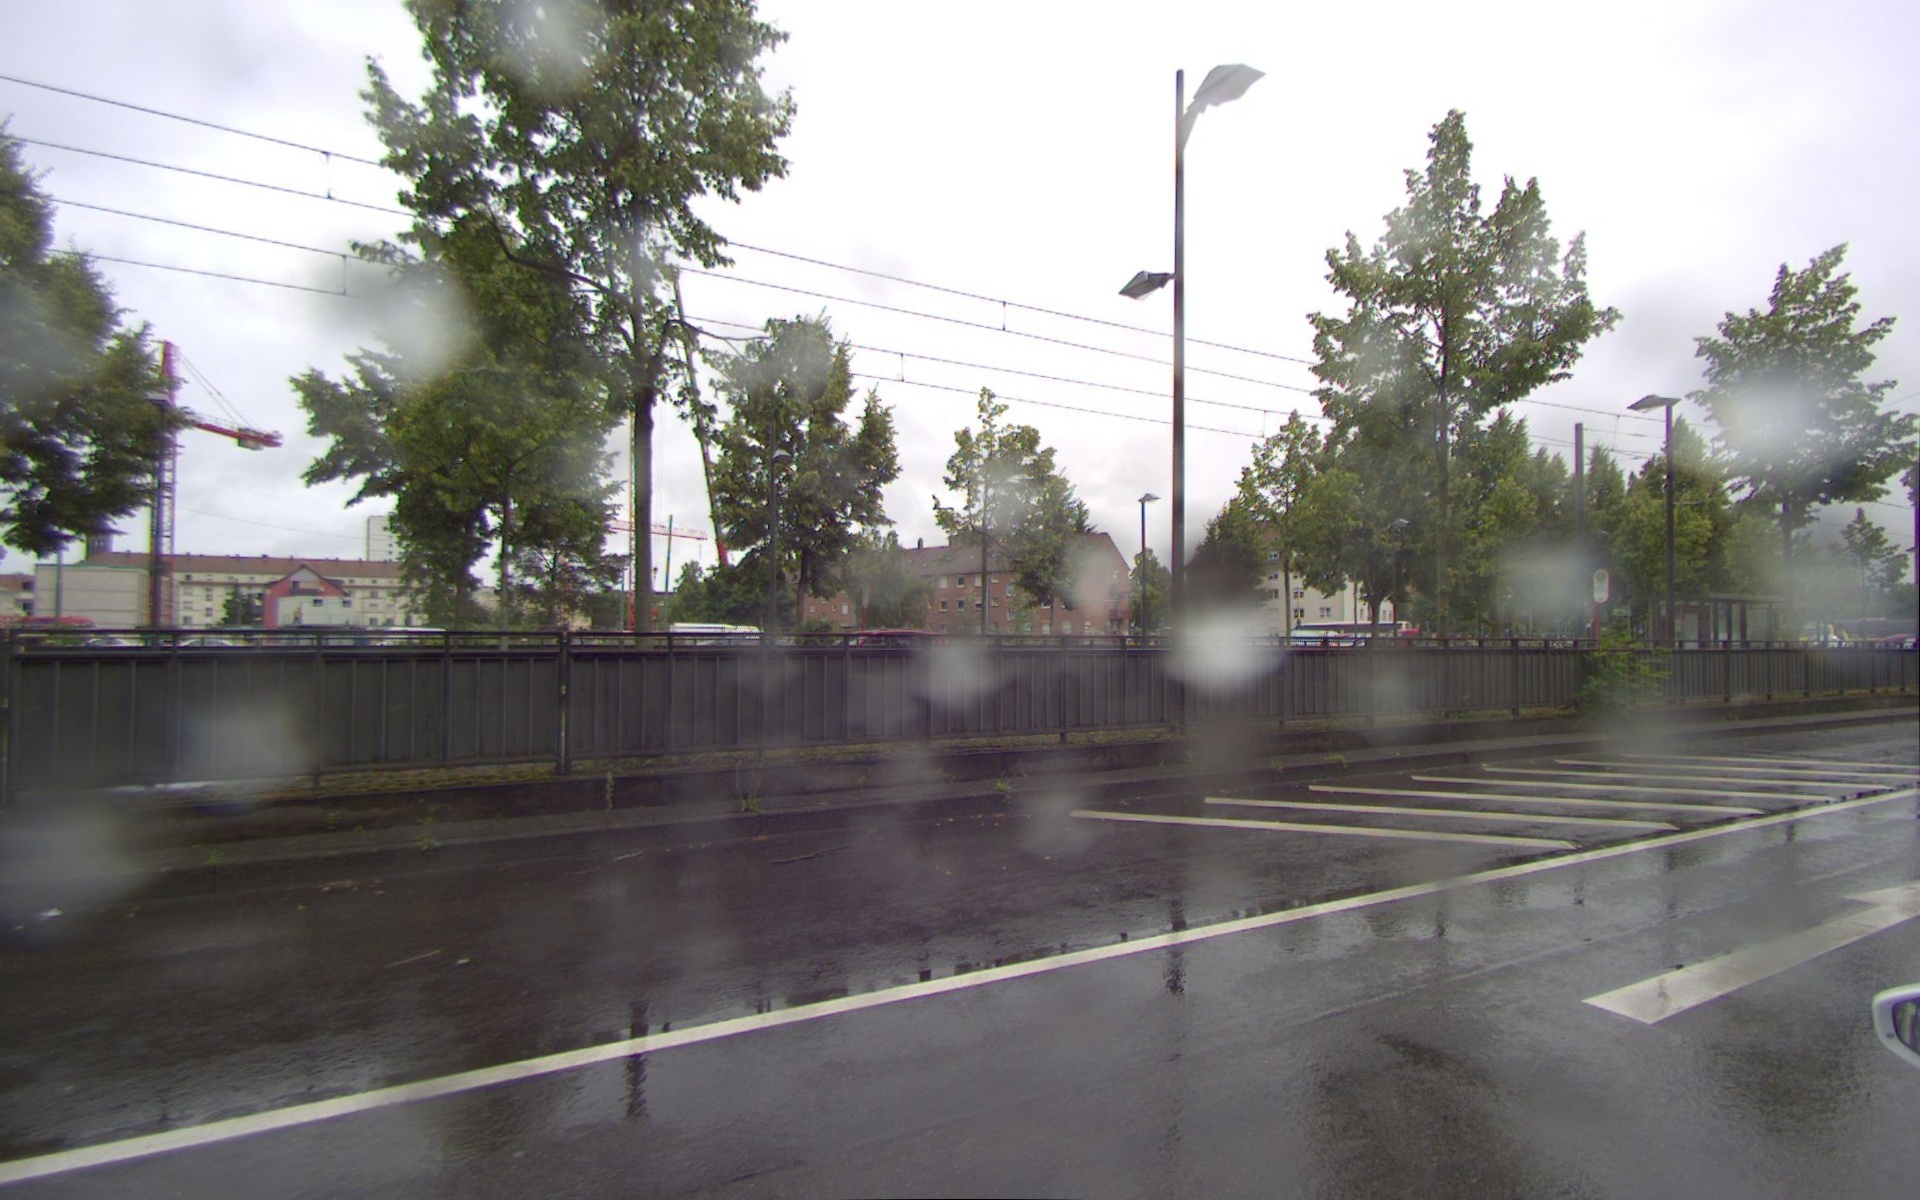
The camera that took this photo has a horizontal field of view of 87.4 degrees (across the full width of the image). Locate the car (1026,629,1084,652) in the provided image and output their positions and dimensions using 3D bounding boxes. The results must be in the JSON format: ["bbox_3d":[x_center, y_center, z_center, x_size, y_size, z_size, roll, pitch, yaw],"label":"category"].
[{"bbox_3d":[9.298,3.959,98.405,5.295,2.040,2.082,-2,-2,-23],"label":"car"}]

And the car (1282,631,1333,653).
[{"bbox_3d":[32.783,3.980,94.771,4.145,2.040,1.994,1,-2,-15],"label":"car"}]

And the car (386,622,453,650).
[{"bbox_3d":[-39.345,2.607,73.190,3.968,1.839,1.808,-1,-2,-41],"label":"car"}]

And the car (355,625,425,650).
[{"bbox_3d":[-52.656,3.453,92.800,5.461,2.040,1.981,-1,-2,-35],"label":"car"}]

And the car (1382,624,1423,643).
[{"bbox_3d":[44.750,3.373,101.598,3.487,1.761,1.700,-4,-2,36],"label":"car"}]

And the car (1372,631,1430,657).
[{"bbox_3d":[35.538,3.559,80.936,3.933,2.040,1.994,1,-2,-15],"label":"car"}]

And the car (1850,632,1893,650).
[{"bbox_3d":[97.934,4.433,107.911,3.854,1.779,1.652,-2,-2,-17],"label":"car"}]

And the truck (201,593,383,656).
[{"bbox_3d":[-63.637,2.265,96.092,6.108,5.467,13.252,-4,-2,39],"label":"truck"}]

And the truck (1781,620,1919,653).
[{"bbox_3d":[89.792,3.656,100.810,14.659,3.188,3.513,1,-2,-15],"label":"truck"}]

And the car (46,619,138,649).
[{"bbox_3d":[-50.809,1.988,58.877,3.769,1.539,1.732,-1,-2,-31],"label":"car"}]

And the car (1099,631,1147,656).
[{"bbox_3d":[14.907,3.971,91.995,3.953,2.040,1.984,-1,-2,-31],"label":"car"}]

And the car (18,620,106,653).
[{"bbox_3d":[-54.969,2.220,61.569,3.968,1.839,1.808,-1,-2,-41],"label":"car"}]

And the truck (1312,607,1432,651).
[{"bbox_3d":[47.819,3.433,116.873,12.284,4.653,3.392,-4,-2,34],"label":"truck"}]

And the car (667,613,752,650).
[{"bbox_3d":[-17.360,2.179,69.752,5.436,2.357,1.829,-1,-2,-31],"label":"car"}]
